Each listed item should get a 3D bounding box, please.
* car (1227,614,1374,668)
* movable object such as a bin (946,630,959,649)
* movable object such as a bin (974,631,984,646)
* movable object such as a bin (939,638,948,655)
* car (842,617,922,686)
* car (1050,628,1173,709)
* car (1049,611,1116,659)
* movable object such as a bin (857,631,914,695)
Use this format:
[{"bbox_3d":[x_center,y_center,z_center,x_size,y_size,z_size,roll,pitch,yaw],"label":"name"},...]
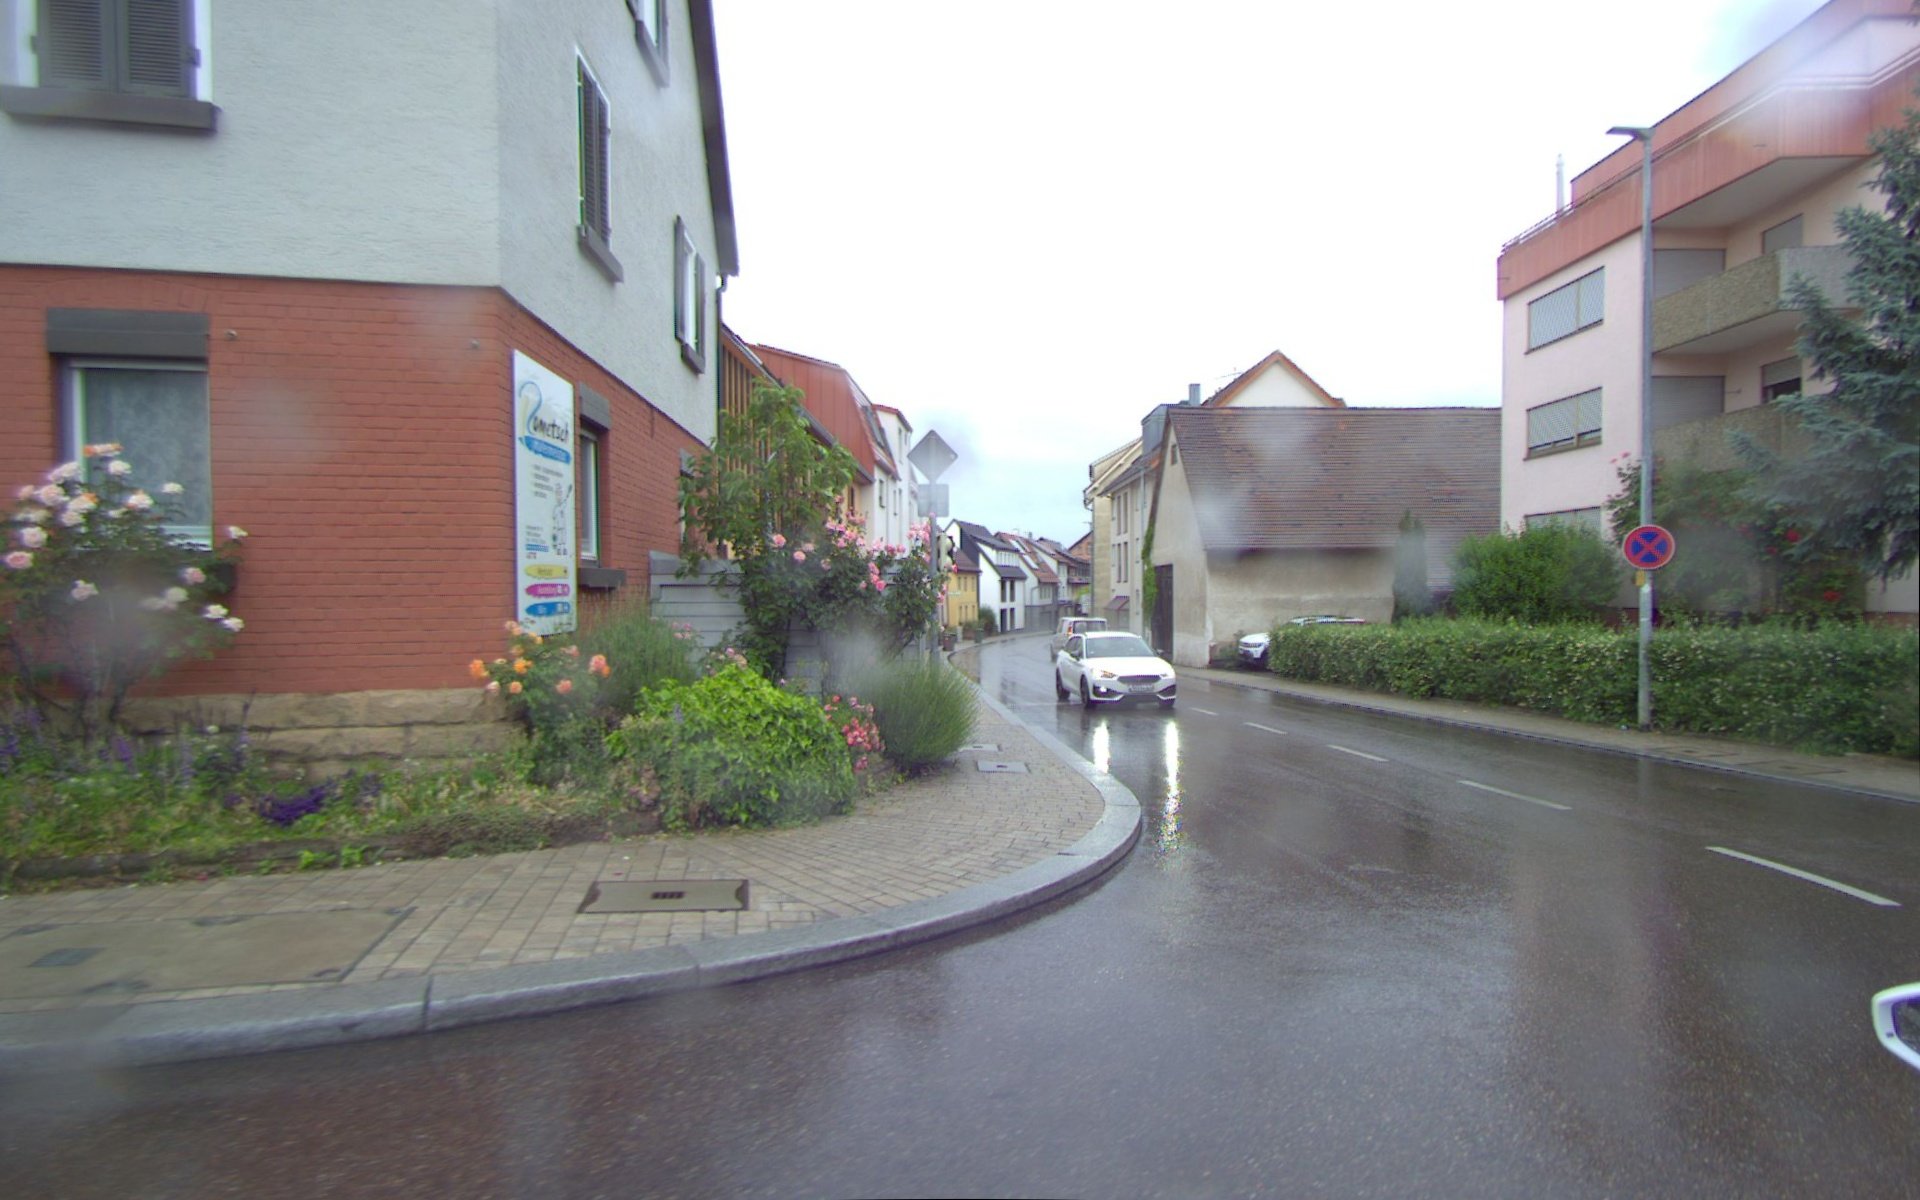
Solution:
[{"bbox_3d":[11.088,1.328,32.884,4.147,1.671,1.903,-1,-1,0],"label":"car"},{"bbox_3d":[-0.444,2.301,58.902,0.670,1.080,0.695,1,-1,5],"label":"movable object such as a bin"},{"bbox_3d":[1.446,2.910,76.344,0.648,1.070,0.764,2,0,7],"label":"movable object such as a bin"},{"bbox_3d":[-0.941,2.690,58.139,0.497,0.935,0.579,1,-1,3],"label":"movable object such as a bin"},{"bbox_3d":[-2.077,1.356,27.815,1.783,1.728,4.618,0,-1,1],"label":"car"},{"bbox_3d":[2.991,1.327,20.633,1.561,1.427,4.207,-1,-2,-4],"label":"car"},{"bbox_3d":[5.051,1.441,42.034,2.159,1.876,4.304,-1,-1,-2],"label":"car"},{"bbox_3d":[-1.689,1.405,22.643,1.265,1.386,0.996,0,-1,-6],"label":"movable object such as a bin"}]
